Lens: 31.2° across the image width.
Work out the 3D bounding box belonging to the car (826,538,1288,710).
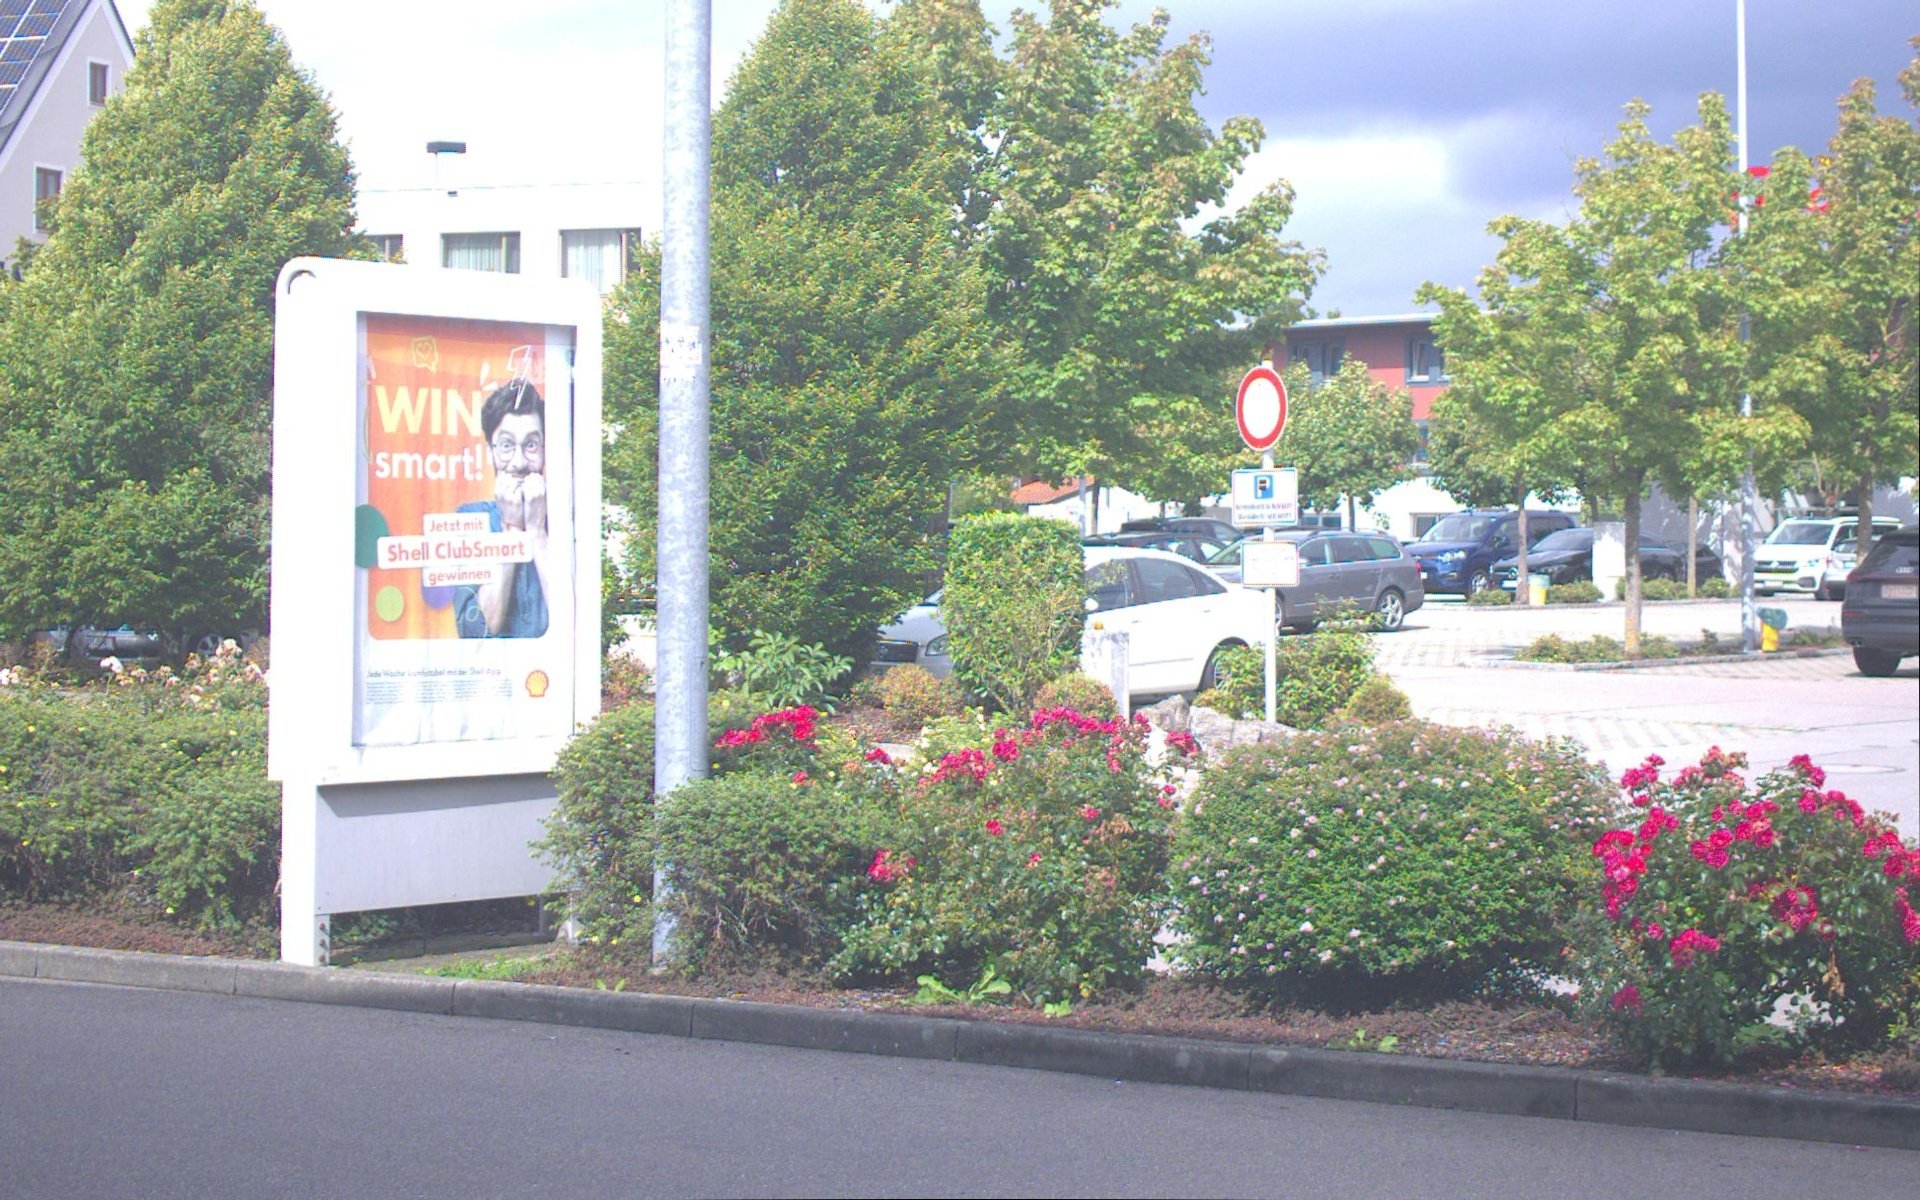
[{"bbox_3d":[0.910,0.193,29.948,4.332,1.399,1.370,0,1,-44],"label":"car"}]

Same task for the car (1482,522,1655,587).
[{"bbox_3d":[11.526,-0.857,65.054,3.409,1.174,1.485,0,1,-44],"label":"car"}]

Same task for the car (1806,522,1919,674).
[{"bbox_3d":[11.140,-0.018,36.749,4.491,1.543,1.885,0,1,-43],"label":"car"}]

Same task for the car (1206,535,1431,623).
[{"bbox_3d":[5.211,-0.304,49.736,3.218,1.224,1.505,0,1,-44],"label":"car"}]

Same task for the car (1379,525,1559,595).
[{"bbox_3d":[9.898,-0.776,66.802,3.379,1.316,1.747,0,1,-44],"label":"car"}]

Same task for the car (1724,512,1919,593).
[{"bbox_3d":[20.262,-1.106,80.659,4.864,1.827,2.184,0,1,-43],"label":"car"}]
